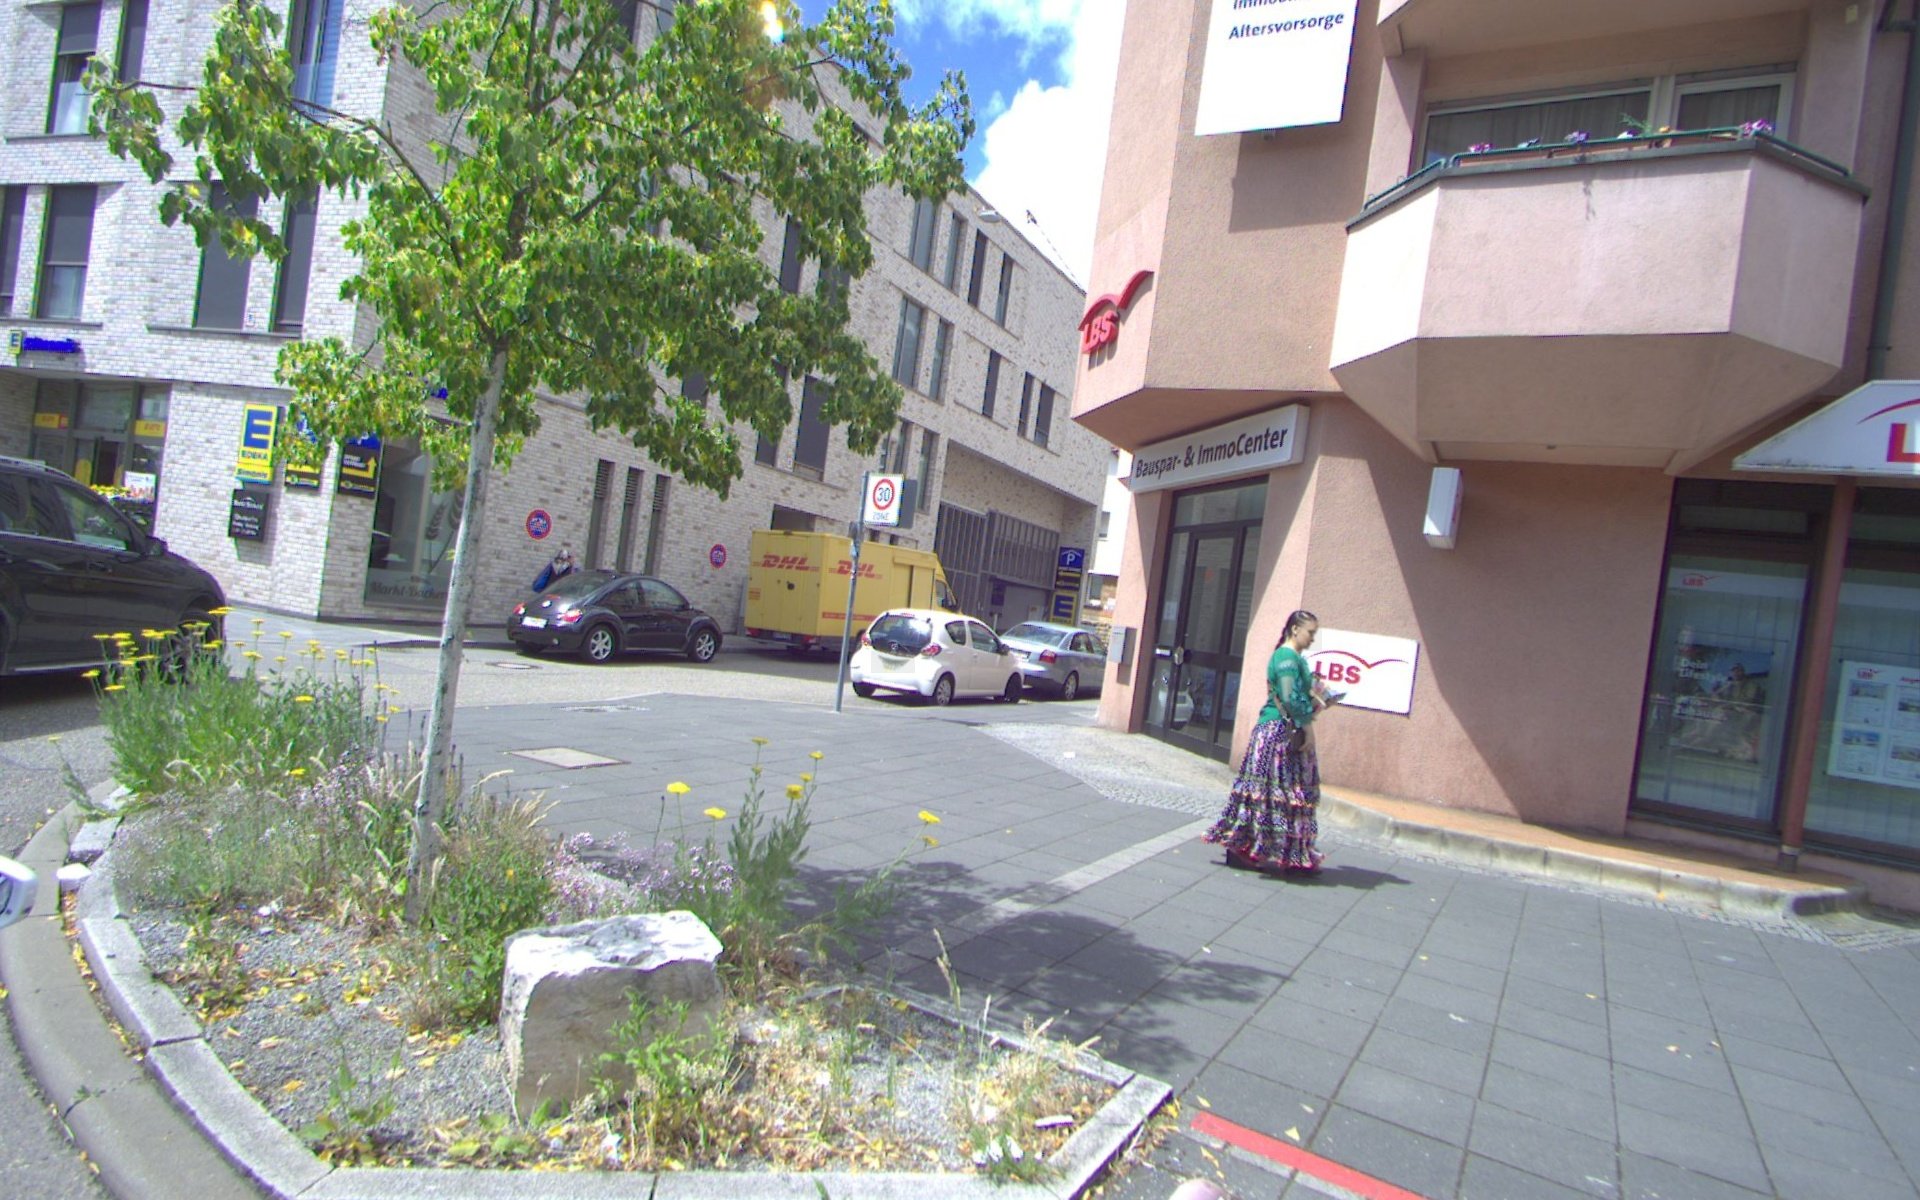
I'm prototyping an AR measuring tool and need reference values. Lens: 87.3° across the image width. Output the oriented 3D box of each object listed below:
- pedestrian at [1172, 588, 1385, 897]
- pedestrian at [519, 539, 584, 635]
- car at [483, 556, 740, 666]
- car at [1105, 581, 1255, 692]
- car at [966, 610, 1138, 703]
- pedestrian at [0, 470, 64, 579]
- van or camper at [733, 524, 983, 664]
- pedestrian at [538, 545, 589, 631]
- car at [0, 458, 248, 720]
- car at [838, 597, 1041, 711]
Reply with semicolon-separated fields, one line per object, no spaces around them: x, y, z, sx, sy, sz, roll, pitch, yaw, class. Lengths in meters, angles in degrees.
1.971;0.822;6.212;0.912;1.660;0.744;8;3;32;pedestrian
-7.691;-0.224;18.953;0.801;1.690;0.555;7;-1;-1;pedestrian
-5.821;0.251;17.272;1.752;1.495;3.900;7;1;28;car
6.330;1.072;28.257;2.092;2.586;5.892;8;1;31;car
1.980;1.145;20.455;1.801;1.495;4.013;7;1;31;car
-15.646;-1.256;16.876;0.652;1.713;0.626;7;1;-30;pedestrian
-2.144;0.001;24.106;2.238;2.771;6.863;6;0;29;van or camper
-7.716;-0.225;19.591;0.592;1.591;0.523;7;-1;-1;pedestrian
-7.580;-0.204;7.480;1.967;1.768;4.520;7;1;-12;car
-0.236;0.891;16.600;1.689;1.495;3.385;7;1;31;car
